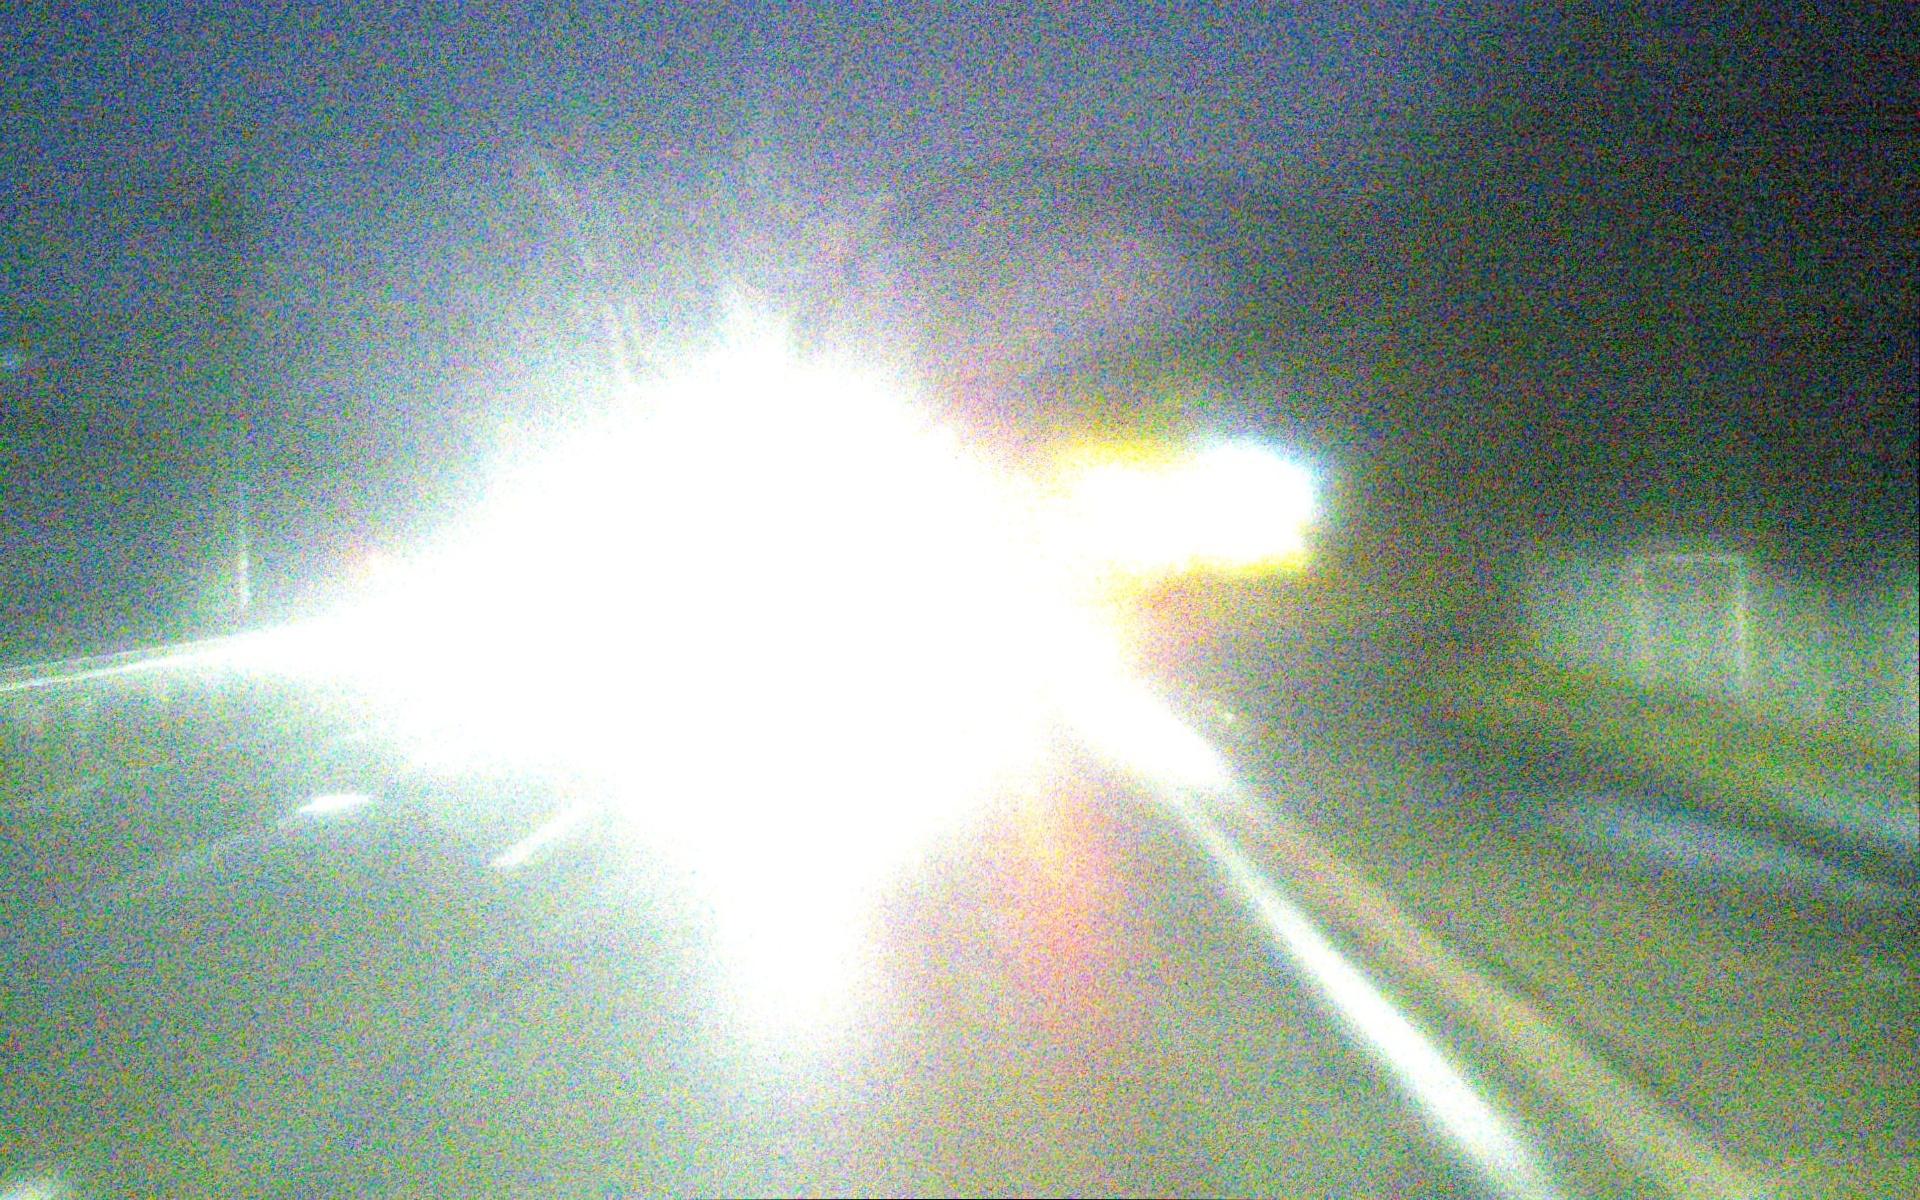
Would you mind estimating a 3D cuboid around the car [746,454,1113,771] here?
[{"bbox_3d":[-0.252,0.043,29.586,2.715,2.299,6.101,-3,1,0],"label":"car"}]

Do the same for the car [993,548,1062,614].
[{"bbox_3d":[2.112,-0.621,108.266,1.993,1.908,4.000,-4,1,0],"label":"car"}]

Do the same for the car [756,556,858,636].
[{"bbox_3d":[-3.185,-0.102,72.222,1.889,1.632,4.156,0,1,1],"label":"car"}]
